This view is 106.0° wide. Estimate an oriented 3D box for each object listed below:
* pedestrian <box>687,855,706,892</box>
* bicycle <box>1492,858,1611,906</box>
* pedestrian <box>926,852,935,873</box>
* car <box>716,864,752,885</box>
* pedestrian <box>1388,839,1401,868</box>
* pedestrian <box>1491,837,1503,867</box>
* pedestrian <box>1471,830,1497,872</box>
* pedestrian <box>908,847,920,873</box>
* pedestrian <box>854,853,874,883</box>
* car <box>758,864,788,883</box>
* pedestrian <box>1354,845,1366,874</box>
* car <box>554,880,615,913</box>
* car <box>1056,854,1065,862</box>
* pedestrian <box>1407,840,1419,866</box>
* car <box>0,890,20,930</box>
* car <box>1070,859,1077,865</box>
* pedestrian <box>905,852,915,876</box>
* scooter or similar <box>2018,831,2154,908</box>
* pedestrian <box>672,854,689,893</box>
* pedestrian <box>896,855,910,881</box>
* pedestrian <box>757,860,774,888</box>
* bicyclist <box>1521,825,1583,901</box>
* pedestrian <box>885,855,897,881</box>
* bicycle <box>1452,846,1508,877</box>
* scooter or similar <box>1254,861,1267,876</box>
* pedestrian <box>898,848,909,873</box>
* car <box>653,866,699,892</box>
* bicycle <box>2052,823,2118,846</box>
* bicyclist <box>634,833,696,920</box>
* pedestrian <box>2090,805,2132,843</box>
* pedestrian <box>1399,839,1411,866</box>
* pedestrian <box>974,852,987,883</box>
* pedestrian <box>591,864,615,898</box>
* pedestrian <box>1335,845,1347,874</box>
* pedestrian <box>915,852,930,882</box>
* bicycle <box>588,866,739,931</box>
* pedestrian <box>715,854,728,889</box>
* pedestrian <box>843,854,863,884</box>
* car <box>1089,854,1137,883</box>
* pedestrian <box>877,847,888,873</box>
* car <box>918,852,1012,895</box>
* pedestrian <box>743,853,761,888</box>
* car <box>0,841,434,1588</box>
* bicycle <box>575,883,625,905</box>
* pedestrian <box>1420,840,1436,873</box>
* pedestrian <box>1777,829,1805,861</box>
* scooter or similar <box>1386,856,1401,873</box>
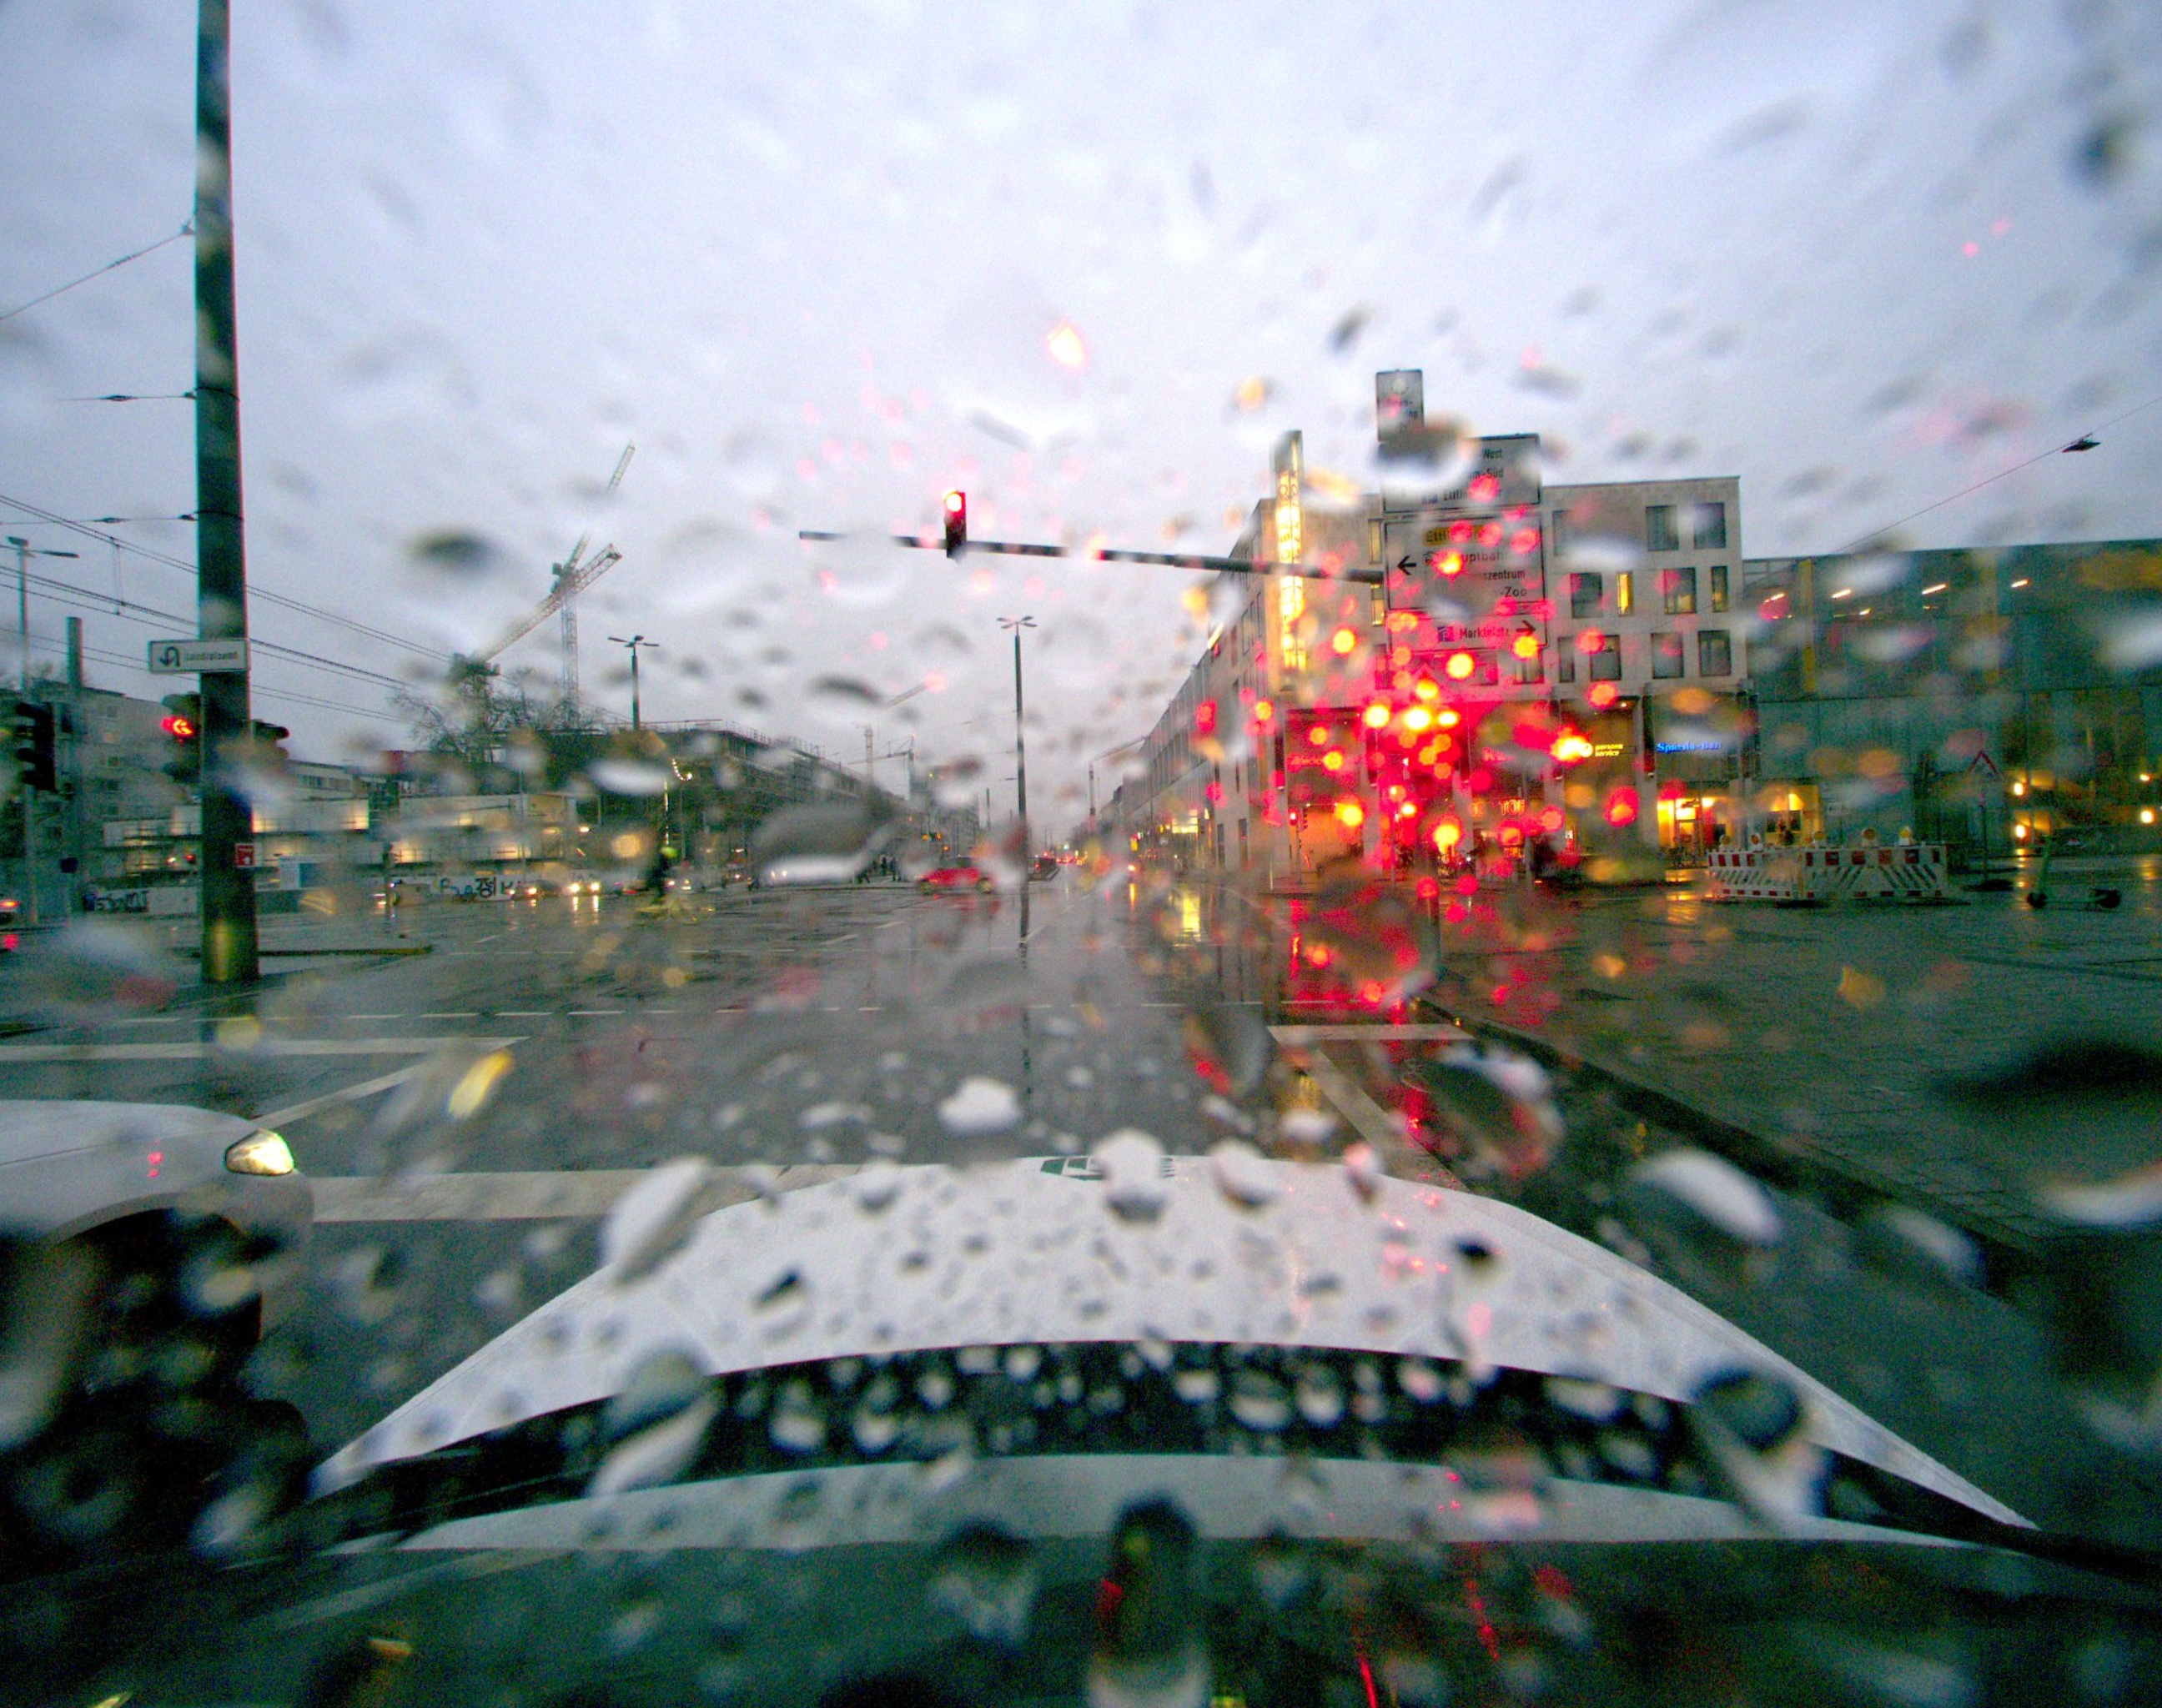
[{"bbox_3d":[-21.289,1.053,45.120,0.781,2.013,0.606,-2,-1,-37],"label":"pedestrian"},{"bbox_3d":[10.980,0.648,19.062,2.362,1.033,0.618,-2,-1,3],"label":"bicycle"},{"bbox_3d":[-12.278,0.700,66.555,0.660,1.746,0.619,-2,-1,-9],"label":"pedestrian"},{"bbox_3d":[-35.046,2.043,82.375,1.989,2.013,3.994,-2,0,-4],"label":"car"},{"bbox_3d":[18.863,-0.021,48.989,0.530,1.718,0.505,-3,-1,39],"label":"pedestrian"},{"bbox_3d":[24.917,-0.114,48.802,0.508,1.760,0.376,-2,-1,13],"label":"pedestrian"},{"bbox_3d":[15.525,-0.106,31.395,0.775,1.595,0.616,-2,-1,17],"label":"pedestrian"},{"bbox_3d":[-11.618,0.401,56.683,0.617,1.746,0.612,-2,-1,-4],"label":"pedestrian"},{"bbox_3d":[-12.533,0.827,47.101,0.835,1.688,0.681,-2,-1,24],"label":"pedestrian"},{"bbox_3d":[-35.578,2.202,94.184,1.989,2.013,3.995,-2,0,-4],"label":"car"},{"bbox_3d":[17.017,0.325,49.672,0.530,1.718,0.505,-3,-1,39],"label":"pedestrian"},{"bbox_3d":[-34.206,2.865,56.259,1.751,2.013,3.997,-2,0,-2],"label":"car"},{"bbox_3d":[-5.243,1.073,210.346,1.986,2.014,4.001,-1,-1,2],"label":"car"},{"bbox_3d":[22.069,-0.074,54.175,0.530,1.718,0.505,-3,-1,39],"label":"pedestrian"},{"bbox_3d":[-50.932,2.616,36.695,4.282,1.761,1.709,-2,0,5],"label":"car"},{"bbox_3d":[-2.302,2.421,241.587,1.881,1.783,3.715,-1,-1,2],"label":"car"},{"bbox_3d":[-12.731,0.766,60.683,0.610,1.746,0.620,-2,-1,-4],"label":"pedestrian"},{"bbox_3d":[15.888,0.234,12.913,0.603,1.130,1.236,-2,0,2],"label":"scooter or similar"},{"bbox_3d":[-21.845,1.086,44.427,0.691,2.087,0.606,-2,-1,-39],"label":"pedestrian"},{"bbox_3d":[-11.300,0.900,51.676,0.741,1.607,0.811,-2,-1,-4],"label":"pedestrian"},{"bbox_3d":[-18.227,1.146,47.087,0.706,1.619,0.678,-2,-1,-8],"label":"pedestrian"},{"bbox_3d":[11.011,0.211,19.069,1.028,1.697,0.618,-2,-1,4],"label":"bicyclist"},{"bbox_3d":[-12.111,0.915,51.998,0.611,1.619,0.707,-2,-1,-8],"label":"pedestrian"},{"bbox_3d":[15.382,0.293,31.423,1.831,1.093,0.620,-2,-1,16],"label":"bicycle"},{"bbox_3d":[11.262,0.918,51.148,0.738,0.916,0.401,-2,-1,3],"label":"scooter or similar"},{"bbox_3d":[-12.585,0.431,57.838,0.660,1.746,0.733,-2,-1,-9],"label":"pedestrian"},{"bbox_3d":[-34.553,2.114,69.581,1.988,2.013,3.997,-2,0,-2],"label":"car"},{"bbox_3d":[48.542,-0.919,39.394,0.613,1.033,2.138,-2,0,3],"label":"bicycle"},{"bbox_3d":[-9.046,0.486,17.743,0.993,1.839,0.719,0,-1,-8],"label":"bicyclist"},{"bbox_3d":[55.145,-1.589,43.621,0.901,2.014,1.023,-1,-1,1],"label":"pedestrian"},{"bbox_3d":[20.889,-0.088,52.503,0.530,1.718,0.505,-3,-1,39],"label":"pedestrian"},{"bbox_3d":[-5.914,0.808,47.996,0.631,1.772,0.484,-2,-1,0],"label":"pedestrian"},{"bbox_3d":[-22.910,1.314,39.050,0.810,1.570,0.537,-2,-5,6],"label":"pedestrian"},{"bbox_3d":[15.903,0.339,49.834,0.530,1.718,0.505,-3,-1,39],"label":"pedestrian"},{"bbox_3d":[-9.377,0.769,48.152,0.700,1.760,0.652,-2,-1,1],"label":"pedestrian"},{"bbox_3d":[-9.045,0.951,17.764,2.829,1.362,0.719,0,-1,-8],"label":"bicycle"},{"bbox_3d":[-21.082,1.029,47.725,0.507,2.013,0.638,-2,0,-9],"label":"pedestrian"},{"bbox_3d":[-13.032,0.839,46.577,0.823,1.679,0.623,-2,-1,22],"label":"pedestrian"},{"bbox_3d":[1.785,0.796,46.753,1.973,1.530,3.988,-2,0,-8],"label":"car"},{"bbox_3d":[-13.664,0.403,56.086,0.611,1.746,0.619,-2,-1,-9],"label":"pedestrian"},{"bbox_3d":[-4.790,0.810,34.030,3.554,1.582,1.678,-2,-1,3],"label":"car"},{"bbox_3d":[-19.360,0.965,47.940,0.792,2.013,0.745,-2,-1,-9],"label":"pedestrian"},{"bbox_3d":[-3.188,0.761,0.286,1.903,1.520,4.923,-2,0,0],"label":"car"},{"bbox_3d":[-23.072,1.931,39.104,2.117,0.992,0.542,-1,-5,6],"label":"bicycle"},{"bbox_3d":[17.999,0.116,42.234,0.530,1.685,0.552,-3,-1,39],"label":"pedestrian"},{"bbox_3d":[36.053,-0.456,41.364,0.791,1.631,0.709,-1,-1,1],"label":"pedestrian"},{"bbox_3d":[18.788,0.623,48.951,0.738,0.993,0.401,-2,-1,3],"label":"scooter or similar"}]
